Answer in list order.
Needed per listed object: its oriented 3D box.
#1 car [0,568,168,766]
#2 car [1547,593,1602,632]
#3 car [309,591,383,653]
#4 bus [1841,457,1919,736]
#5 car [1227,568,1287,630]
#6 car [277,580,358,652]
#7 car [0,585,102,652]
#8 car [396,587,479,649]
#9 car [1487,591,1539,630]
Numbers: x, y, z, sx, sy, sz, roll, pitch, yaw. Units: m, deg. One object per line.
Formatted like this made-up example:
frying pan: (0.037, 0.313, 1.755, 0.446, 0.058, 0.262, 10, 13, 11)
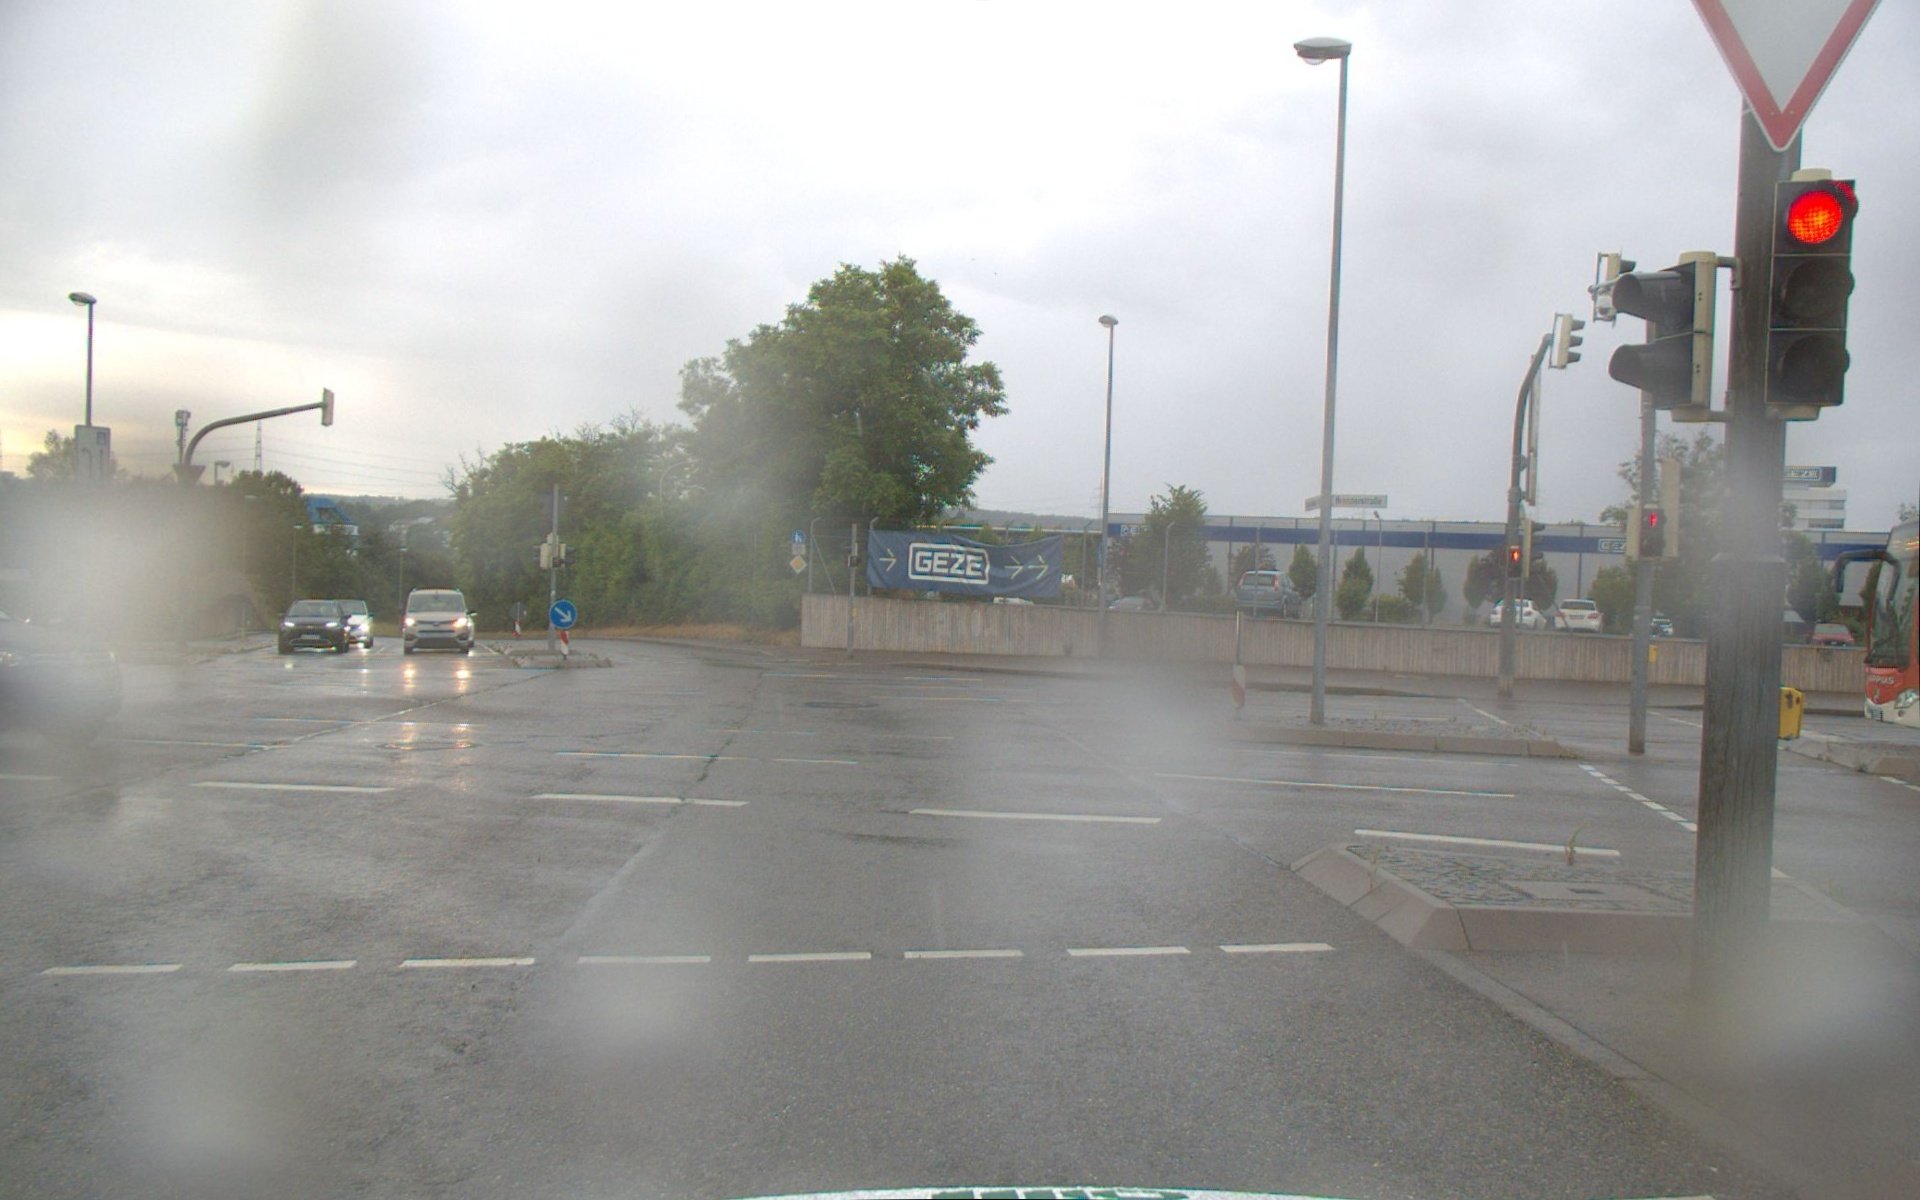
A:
car: (-10.293, 0.574, 15.999, 4.498, 1.732, 2.002, 0, 0, 14)
car: (25.257, 0.484, 68.055, 1.952, 1.504, 4.001, 2, 0, 19)
car: (-20.390, 0.708, 55.050, 1.961, 1.928, 3.983, 1, 0, -16)
bus: (17.663, 0.228, 19.841, 12.020, 3.379, 3.076, 3, 1, 17)
car: (10.394, -0.043, 57.839, 1.951, 2.049, 4.003, 1, 0, 11)
car: (-18.562, 0.432, 47.914, 1.963, 1.928, 3.979, 1, 0, -19)
car: (-28.024, 0.531, 51.125, 1.962, 1.928, 3.981, 1, 0, -18)
car: (-14.912, 0.480, 47.344, 1.960, 1.646, 3.986, 1, 0, -14)
car: (22.961, 0.415, 68.643, 1.952, 1.504, 4.001, 2, 0, 19)
